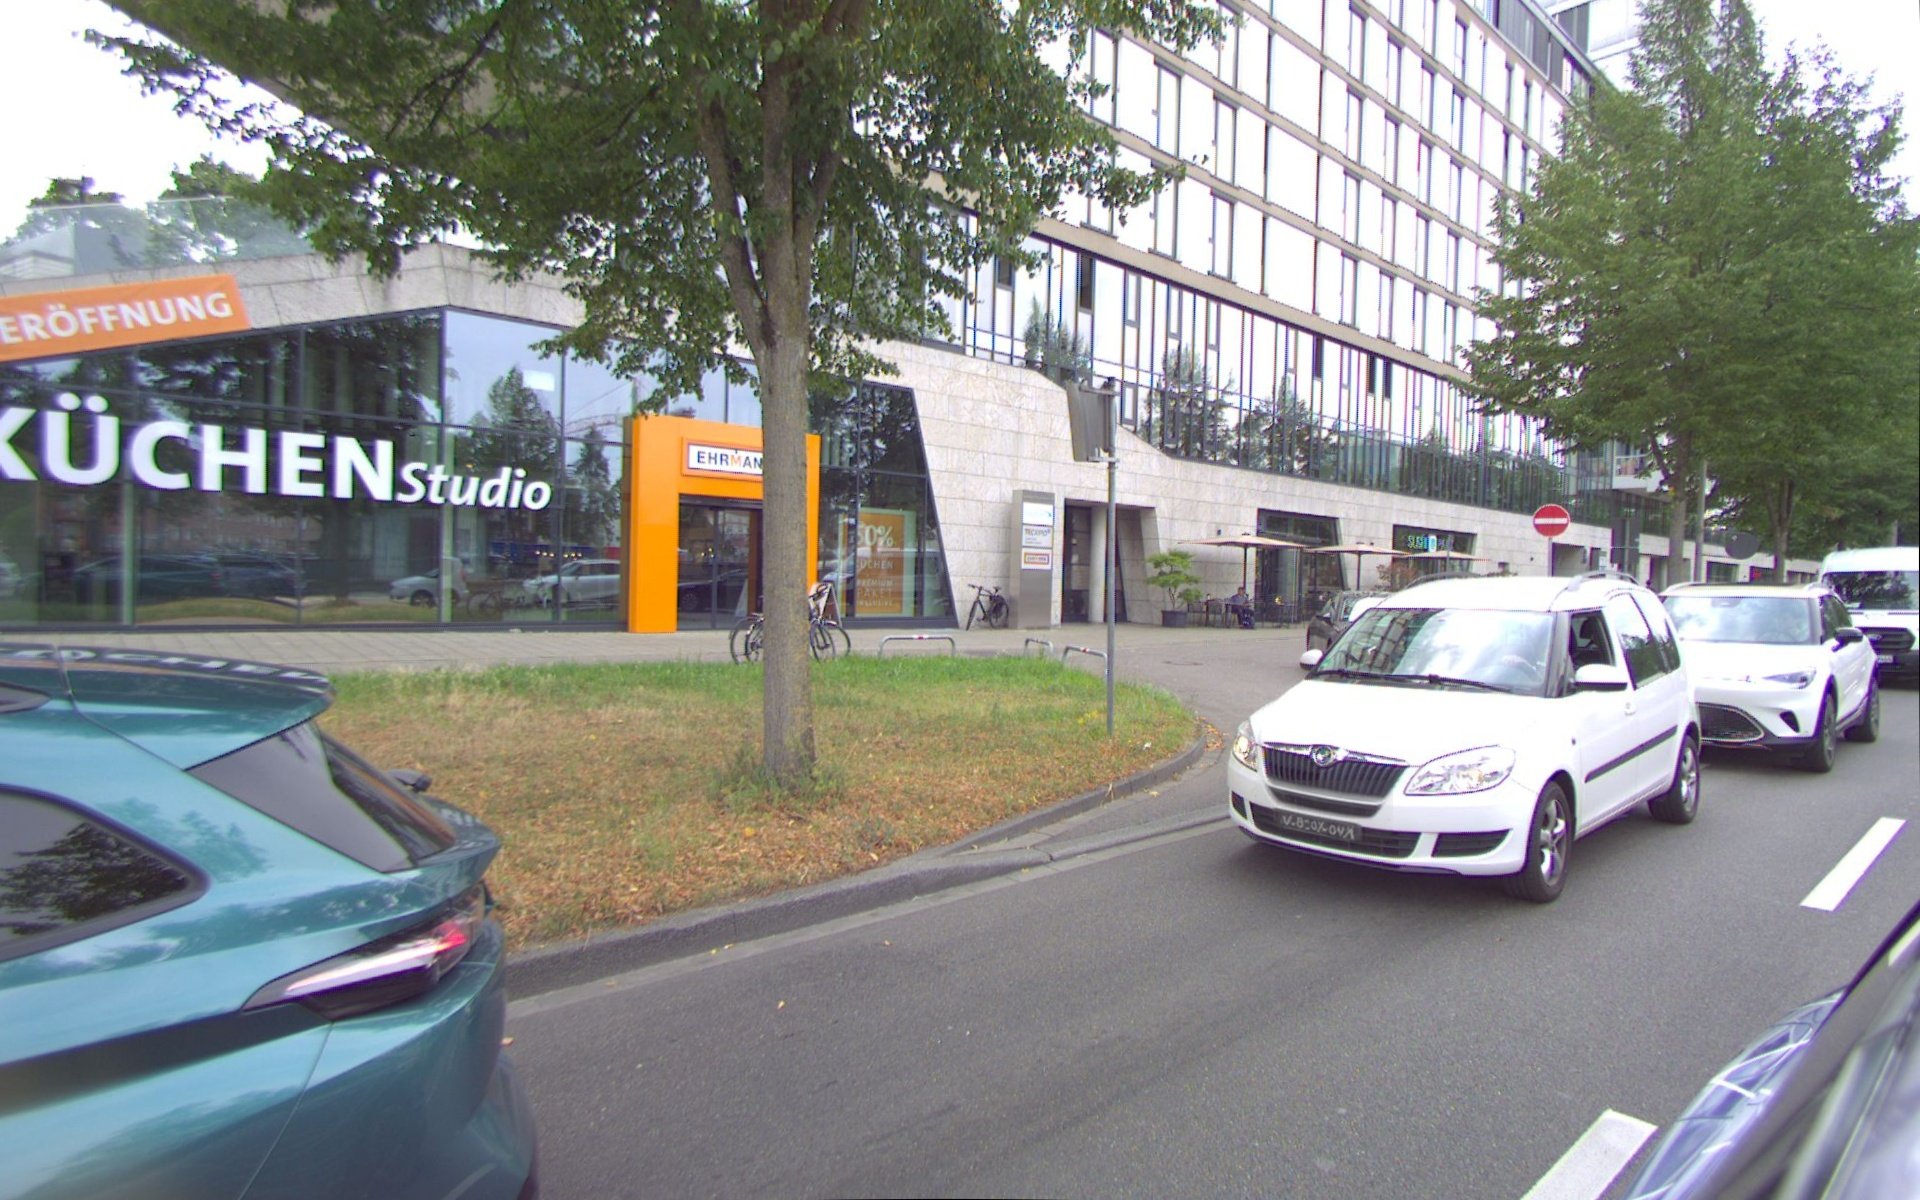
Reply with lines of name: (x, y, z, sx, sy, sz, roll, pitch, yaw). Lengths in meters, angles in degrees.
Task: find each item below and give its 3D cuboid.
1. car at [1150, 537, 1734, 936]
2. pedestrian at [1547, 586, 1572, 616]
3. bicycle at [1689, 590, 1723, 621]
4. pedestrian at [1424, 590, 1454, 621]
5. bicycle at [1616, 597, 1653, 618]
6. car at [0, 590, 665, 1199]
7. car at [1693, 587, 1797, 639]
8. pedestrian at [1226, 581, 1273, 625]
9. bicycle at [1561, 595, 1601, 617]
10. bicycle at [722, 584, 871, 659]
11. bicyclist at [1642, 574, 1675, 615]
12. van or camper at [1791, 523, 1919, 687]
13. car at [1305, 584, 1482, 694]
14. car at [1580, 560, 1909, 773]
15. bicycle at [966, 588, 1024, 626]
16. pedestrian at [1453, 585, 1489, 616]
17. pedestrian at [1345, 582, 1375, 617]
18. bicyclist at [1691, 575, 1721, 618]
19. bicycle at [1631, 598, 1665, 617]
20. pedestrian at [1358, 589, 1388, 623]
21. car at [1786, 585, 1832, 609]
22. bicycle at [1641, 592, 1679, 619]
car: (3.141, 0.551, 6.231, 3.953, 1.677, 1.782, 0, 2, -41)
pedestrian: (28.533, 0.048, 48.198, 0.707, 1.424, 0.759, 1, 1, -33)
bicycle: (28.699, 0.208, 38.933, 1.973, 1.157, 0.674, 0, 1, -44)
pedestrian: (19.122, 0.219, 40.386, 0.743, 1.207, 0.723, 1, 1, -19)
bicycle: (36.770, 0.386, 55.195, 0.524, 1.039, 1.599, 0, 2, -43)
car: (-2.632, 0.708, 0.859, 4.239, 1.450, 1.789, 0, 0, -44)
car: (26.029, 0.415, 33.504, 4.514, 1.571, 1.941, 1, 1, -42)
pedestrian: (8.505, 0.075, 29.743, 0.932, 1.243, 0.900, 1, 1, -36)
bicycle: (31.129, 0.306, 50.736, 1.584, 1.039, 0.606, 3, 2, 23)
bicycle: (-2.240, 0.275, 14.091, 0.630, 0.968, 2.074, 2, 2, 44)
bicyclist: (27.702, -0.223, 40.141, 0.971, 1.601, 0.727, 0, 3, -37)
van or camper: (16.823, 0.082, 18.070, 6.230, 2.540, 2.181, 0, 0, -42)
car: (7.002, 0.513, 16.887, 1.919, 1.494, 4.850, 2, 1, 14)
car: (7.819, 0.506, 9.960, 3.953, 1.677, 1.782, 0, 2, -41)
bicycle: (0.874, 0.169, 25.136, 1.467, 0.921, 0.519, 0, 1, -41)
pedestrian: (20.583, 0.029, 40.785, 1.083, 1.207, 0.776, 1, 1, -26)
pedestrian: (14.338, -0.028, 36.309, 0.746, 1.207, 0.720, 1, 1, -42)
bicyclist: (28.707, -0.139, 38.938, 0.973, 1.601, 0.725, 0, 3, -44)
bicycle: (39.444, 0.428, 58.037, 0.524, 1.039, 1.530, 0, 2, -43)
pedestrian: (15.058, 0.220, 36.939, 0.745, 1.207, 0.720, 1, 1, -39)
car: (61.814, -0.196, 73.671, 4.166, 1.607, 1.862, 0, 4, -41)
bicycle: (27.847, 0.212, 40.252, 1.970, 1.055, 0.675, 1, 1, -38)
